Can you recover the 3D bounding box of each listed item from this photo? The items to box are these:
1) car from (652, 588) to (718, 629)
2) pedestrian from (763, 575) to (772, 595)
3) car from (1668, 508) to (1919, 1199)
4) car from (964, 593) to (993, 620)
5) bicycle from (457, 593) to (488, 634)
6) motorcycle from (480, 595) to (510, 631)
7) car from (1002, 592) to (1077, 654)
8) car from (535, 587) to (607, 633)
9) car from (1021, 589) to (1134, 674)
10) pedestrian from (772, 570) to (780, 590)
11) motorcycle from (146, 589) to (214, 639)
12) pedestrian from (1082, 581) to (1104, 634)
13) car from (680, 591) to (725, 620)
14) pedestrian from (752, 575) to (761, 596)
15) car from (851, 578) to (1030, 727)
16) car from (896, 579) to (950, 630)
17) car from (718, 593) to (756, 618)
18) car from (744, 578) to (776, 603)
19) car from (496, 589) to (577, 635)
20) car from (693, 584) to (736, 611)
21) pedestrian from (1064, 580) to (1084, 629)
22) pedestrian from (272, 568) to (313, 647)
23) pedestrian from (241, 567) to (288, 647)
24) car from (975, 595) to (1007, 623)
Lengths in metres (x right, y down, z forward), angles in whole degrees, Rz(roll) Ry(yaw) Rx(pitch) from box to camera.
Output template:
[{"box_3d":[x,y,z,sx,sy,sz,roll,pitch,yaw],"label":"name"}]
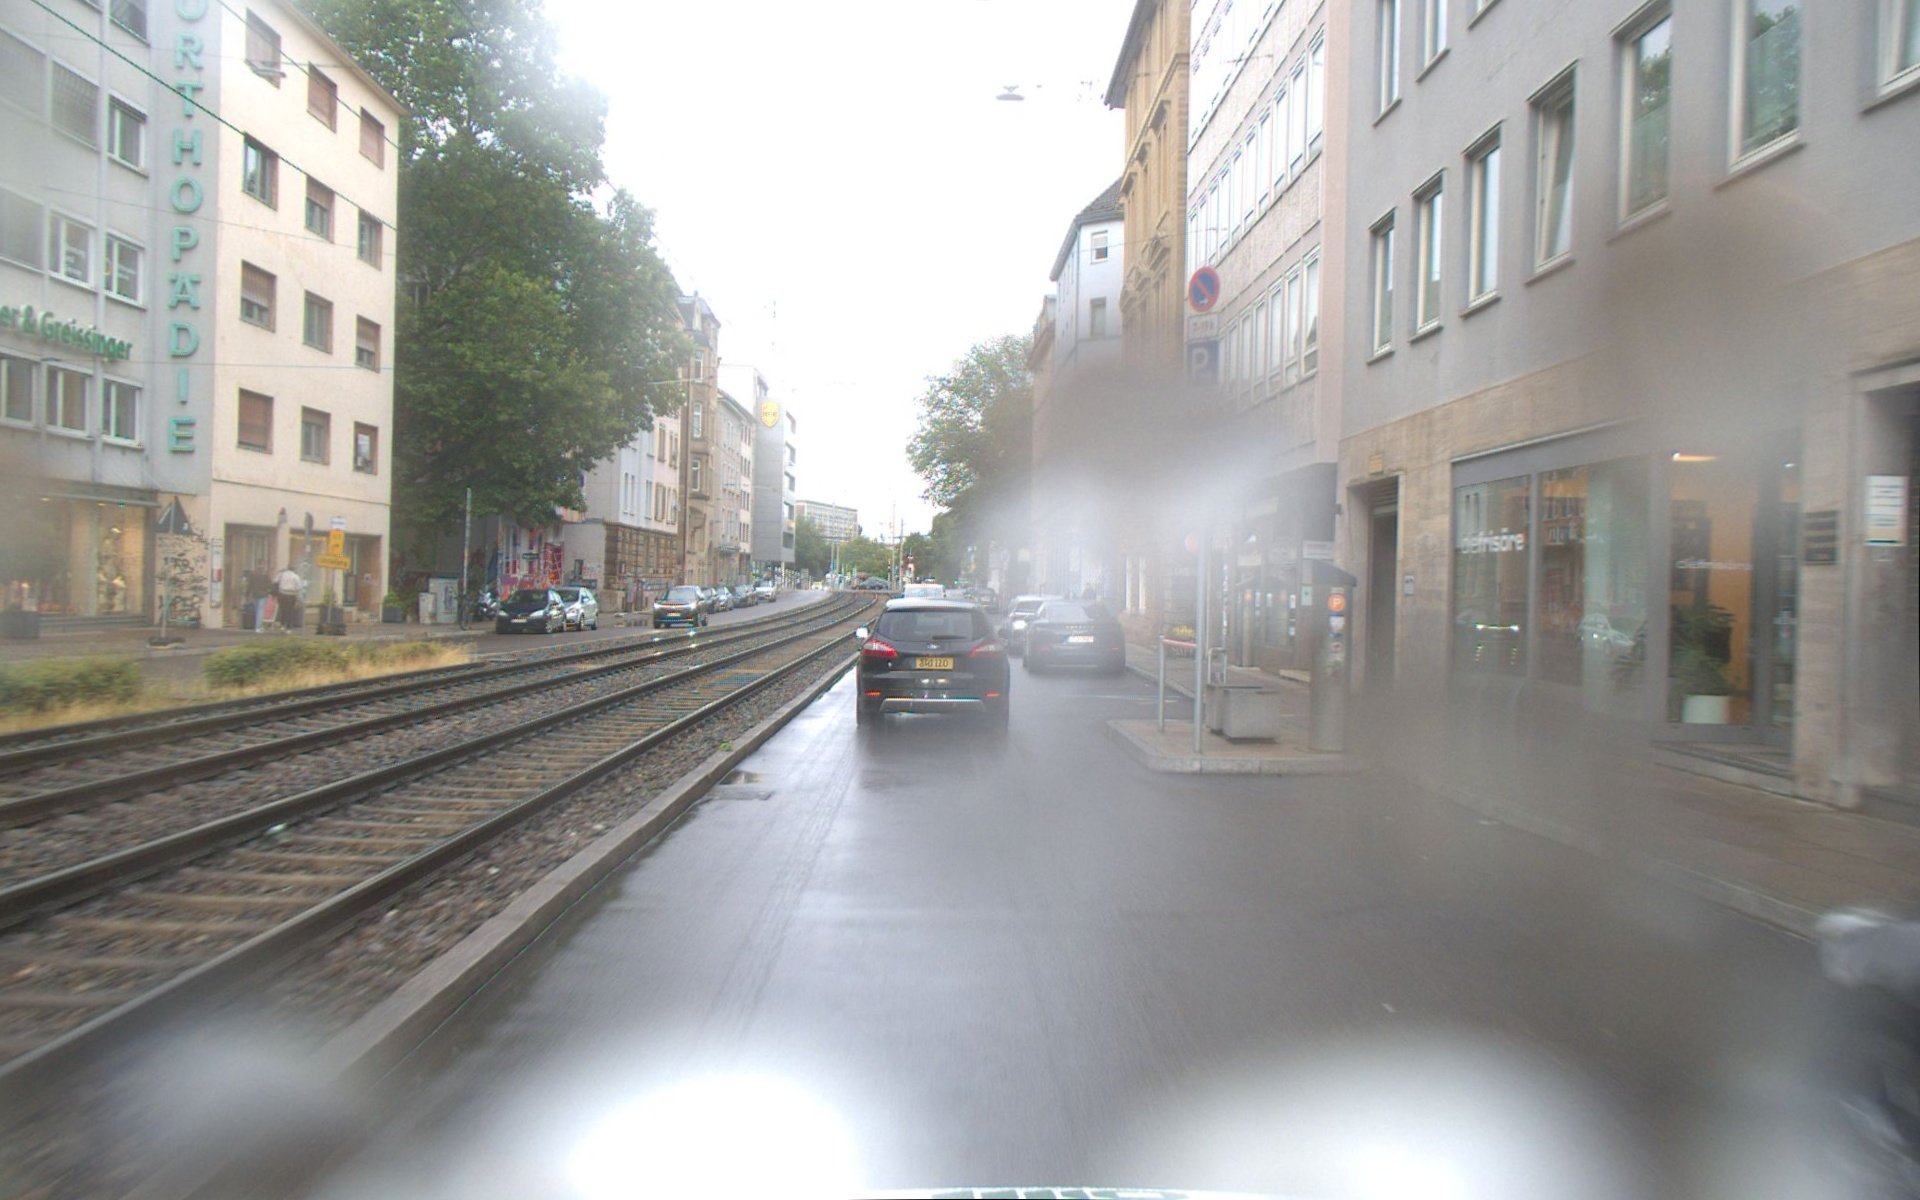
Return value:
[{"box_3d":[-11.012,0.327,66.513,1.953,1.545,4.443,2,0,-1],"label":"car"},{"box_3d":[-17.761,-1.381,152.686,0.729,1.886,0.839,0,-1,-2],"label":"pedestrian"},{"box_3d":[2.939,0.619,2.426,1.953,1.622,4.270,0,-1,-1],"label":"car"},{"box_3d":[1.110,0.374,101.519,1.609,1.542,4.038,1,1,-2],"label":"car"},{"box_3d":[-15.592,0.426,52.919,0.580,1.248,2.399,2,-1,-8],"label":"bicycle"},{"box_3d":[-18.659,0.507,66.405,0.626,1.403,2.118,1,0,-3],"label":"motorcycle"},{"box_3d":[2.113,0.588,45.162,1.711,1.549,4.354,1,1,-1],"label":"car"},{"box_3d":[-14.244,0.363,60.729,1.687,1.597,4.219,2,0,-1],"label":"car"},{"box_3d":[2.331,0.632,33.849,1.953,1.622,4.571,0,-1,-1],"label":"car"},{"box_3d":[-17.688,-1.921,158.878,0.729,1.886,0.839,0,-1,-2],"label":"pedestrian"},{"box_3d":[-19.173,0.337,40.647,1.447,1.200,0.386,1,0,-3],"label":"motorcycle"},{"box_3d":[5.197,0.277,64.635,0.721,2.049,0.821,1,0,-2],"label":"pedestrian"},{"box_3d":[-14.730,0.296,94.702,1.953,1.545,4.208,2,0,-1],"label":"car"},{"box_3d":[-18.791,-1.363,152.604,0.729,1.886,0.839,0,-1,-2],"label":"pedestrian"},{"box_3d":[-0.231,0.609,20.348,1.953,1.622,4.270,0,-1,-1],"label":"car"},{"box_3d":[-1.377,0.186,62.813,1.953,1.848,4.270,0,-1,-1],"label":"car"},{"box_3d":[-14.878,0.353,110.612,1.953,1.545,4.675,2,0,-1],"label":"car"},{"box_3d":[-15.469,-0.731,127.995,1.953,1.871,5.069,2,0,-2],"label":"car"},{"box_3d":[-14.238,0.393,55.783,1.708,1.494,4.219,0,0,-1],"label":"car"},{"box_3d":[-14.895,-0.164,100.522,1.953,1.545,4.991,2,0,-1],"label":"car"},{"box_3d":[4.441,0.188,64.555,0.648,1.884,0.821,1,0,-2],"label":"pedestrian"},{"box_3d":[-16.510,0.182,40.909,0.664,1.929,0.742,1,-1,-1],"label":"pedestrian"},{"box_3d":[-17.234,0.177,40.995,0.712,1.929,0.982,1,-1,-1],"label":"pedestrian"},{"box_3d":[1.793,0.526,96.840,1.703,1.515,3.999,1,1,-2],"label":"car"}]
